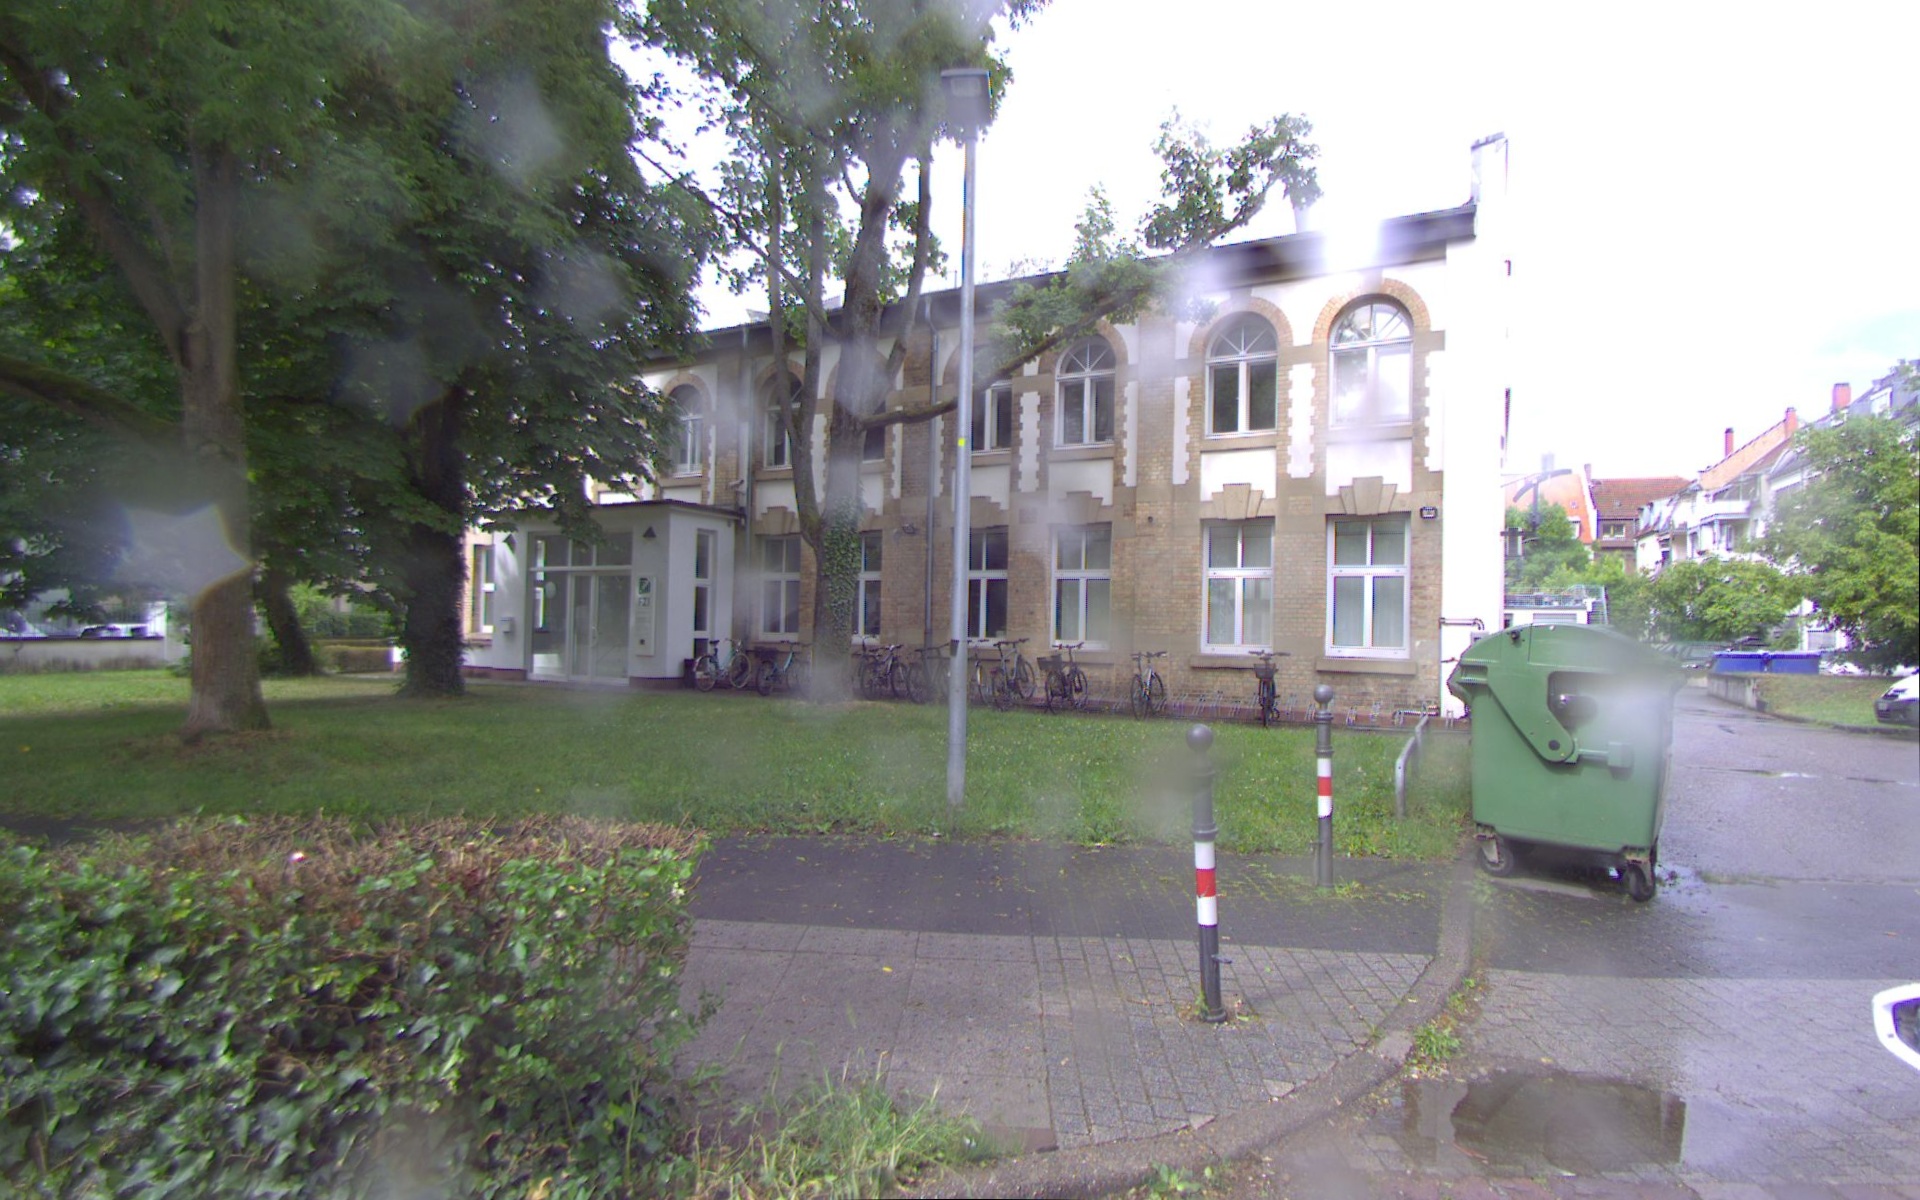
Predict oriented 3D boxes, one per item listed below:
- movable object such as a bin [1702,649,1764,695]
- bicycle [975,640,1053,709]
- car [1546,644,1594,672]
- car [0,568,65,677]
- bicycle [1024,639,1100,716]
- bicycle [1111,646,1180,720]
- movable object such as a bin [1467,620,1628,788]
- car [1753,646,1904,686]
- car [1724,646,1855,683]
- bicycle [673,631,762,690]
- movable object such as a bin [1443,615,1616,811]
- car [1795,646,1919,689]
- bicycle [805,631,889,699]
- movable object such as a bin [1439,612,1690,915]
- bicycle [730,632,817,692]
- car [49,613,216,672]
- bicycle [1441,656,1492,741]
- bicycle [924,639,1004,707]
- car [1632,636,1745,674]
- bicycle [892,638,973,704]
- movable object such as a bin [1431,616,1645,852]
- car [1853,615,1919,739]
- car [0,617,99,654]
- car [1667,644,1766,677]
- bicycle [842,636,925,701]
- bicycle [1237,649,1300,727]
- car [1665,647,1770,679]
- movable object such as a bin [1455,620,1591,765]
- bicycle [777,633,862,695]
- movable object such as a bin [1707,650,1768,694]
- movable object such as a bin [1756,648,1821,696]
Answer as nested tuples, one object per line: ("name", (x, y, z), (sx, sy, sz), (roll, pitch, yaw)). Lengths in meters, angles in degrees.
("movable object such as a bin", (23.251, 2.144, 30.236), (1.318, 1.309, 1.093), (-1, -2, 30))
("bicycle", (0.965, 1.288, 17.540), (0.606, 1.130, 1.924), (-1, -3, 28))
("car", (35.150, 3.332, 57.963), (1.948, 1.463, 3.997), (1, -2, 26))
("car", (-23.521, 0.510, 22.537), (2.098, 2.543, 5.275), (-1, -2, 0))
("bicycle", (1.765, 1.294, 17.104), (0.606, 1.240, 1.924), (-1, -3, 28))
("bicycle", (3.057, 1.330, 16.446), (0.606, 1.130, 1.786), (-1, -3, 28))
("movable object such as a bin", (5.708, 0.972, 9.890), (1.146, 1.502, 1.497), (-1, -3, 23))
("car", (32.763, 2.464, 38.049), (3.925, 1.464, 1.805), (-1, -3, 25))
("car", (35.110, 2.728, 42.639), (3.923, 1.477, 1.773), (0, -3, 23))
("bicycle", (-4.886, 1.213, 20.370), (0.606, 1.130, 1.924), (-1, -3, 28))
("movable object such as a bin", (4.842, 0.900, 8.671), (1.146, 1.503, 1.402), (1, -1, 24))
("car", (31.721, 2.345, 35.248), (3.362, 1.445, 1.687), (-2, -3, 26))
("bicycle", (-2.113, 1.199, 19.068), (0.606, 1.192, 1.924), (0, -1, 28))
("movable object such as a bin", (3.624, 0.854, 5.968), (1.087, 1.492, 1.480), (1, -2, 38))
("bicycle", (-3.634, 1.207, 19.712), (0.606, 1.130, 1.924), (-1, -3, 28))
("car", (-23.522, 1.212, 28.720), (1.876, 1.571, 3.372), (0, -2, 2))
("bicycle", (7.208, 1.371, 14.285), (0.606, 1.130, 1.518), (-1, -3, 28))
("bicycle", (0.101, 1.283, 17.922), (0.606, 1.130, 1.924), (-1, -3, 28))
("car", (40.341, 3.031, 55.739), (4.558, 2.029, 2.226), (-1, -2, 18))
("bicycle", (-0.465, 1.272, 18.319), (0.606, 1.130, 1.924), (-1, -3, 28))
("movable object such as a bin", (4.173, 0.889, 7.413), (1.145, 1.503, 1.402), (1, 0, 21))
("car", (17.507, 1.312, 15.807), (4.802, 1.951, 2.096), (1, -2, 30))
("car", (-39.153, 1.481, 42.196), (4.398, 1.472, 1.886), (0, -1, -37))
("car", (39.706, 3.159, 52.832), (3.849, 1.709, 1.815), (-1, -3, 27))
("bicycle", (-1.392, 1.263, 18.741), (0.606, 1.130, 1.924), (-1, -3, 28))
("bicycle", (4.792, 1.329, 15.538), (0.606, 1.130, 1.786), (-1, -3, 28))
("car", (37.737, 3.122, 50.162), (3.846, 1.533, 1.752), (-1, -3, 23))
("movable object such as a bin", (6.320, 1.009, 11.392), (1.146, 1.502, 1.594), (-1, -3, 23))
("bicycle", (-2.688, 1.225, 19.452), (0.606, 1.130, 1.924), (-1, -3, 28))
("movable object such as a bin", (24.415, 2.245, 31.574), (1.352, 1.321, 1.081), (-1, -3, 30))
("movable object such as a bin", (24.440, 2.098, 29.652), (1.274, 1.354, 1.195), (-1, -3, 30))
